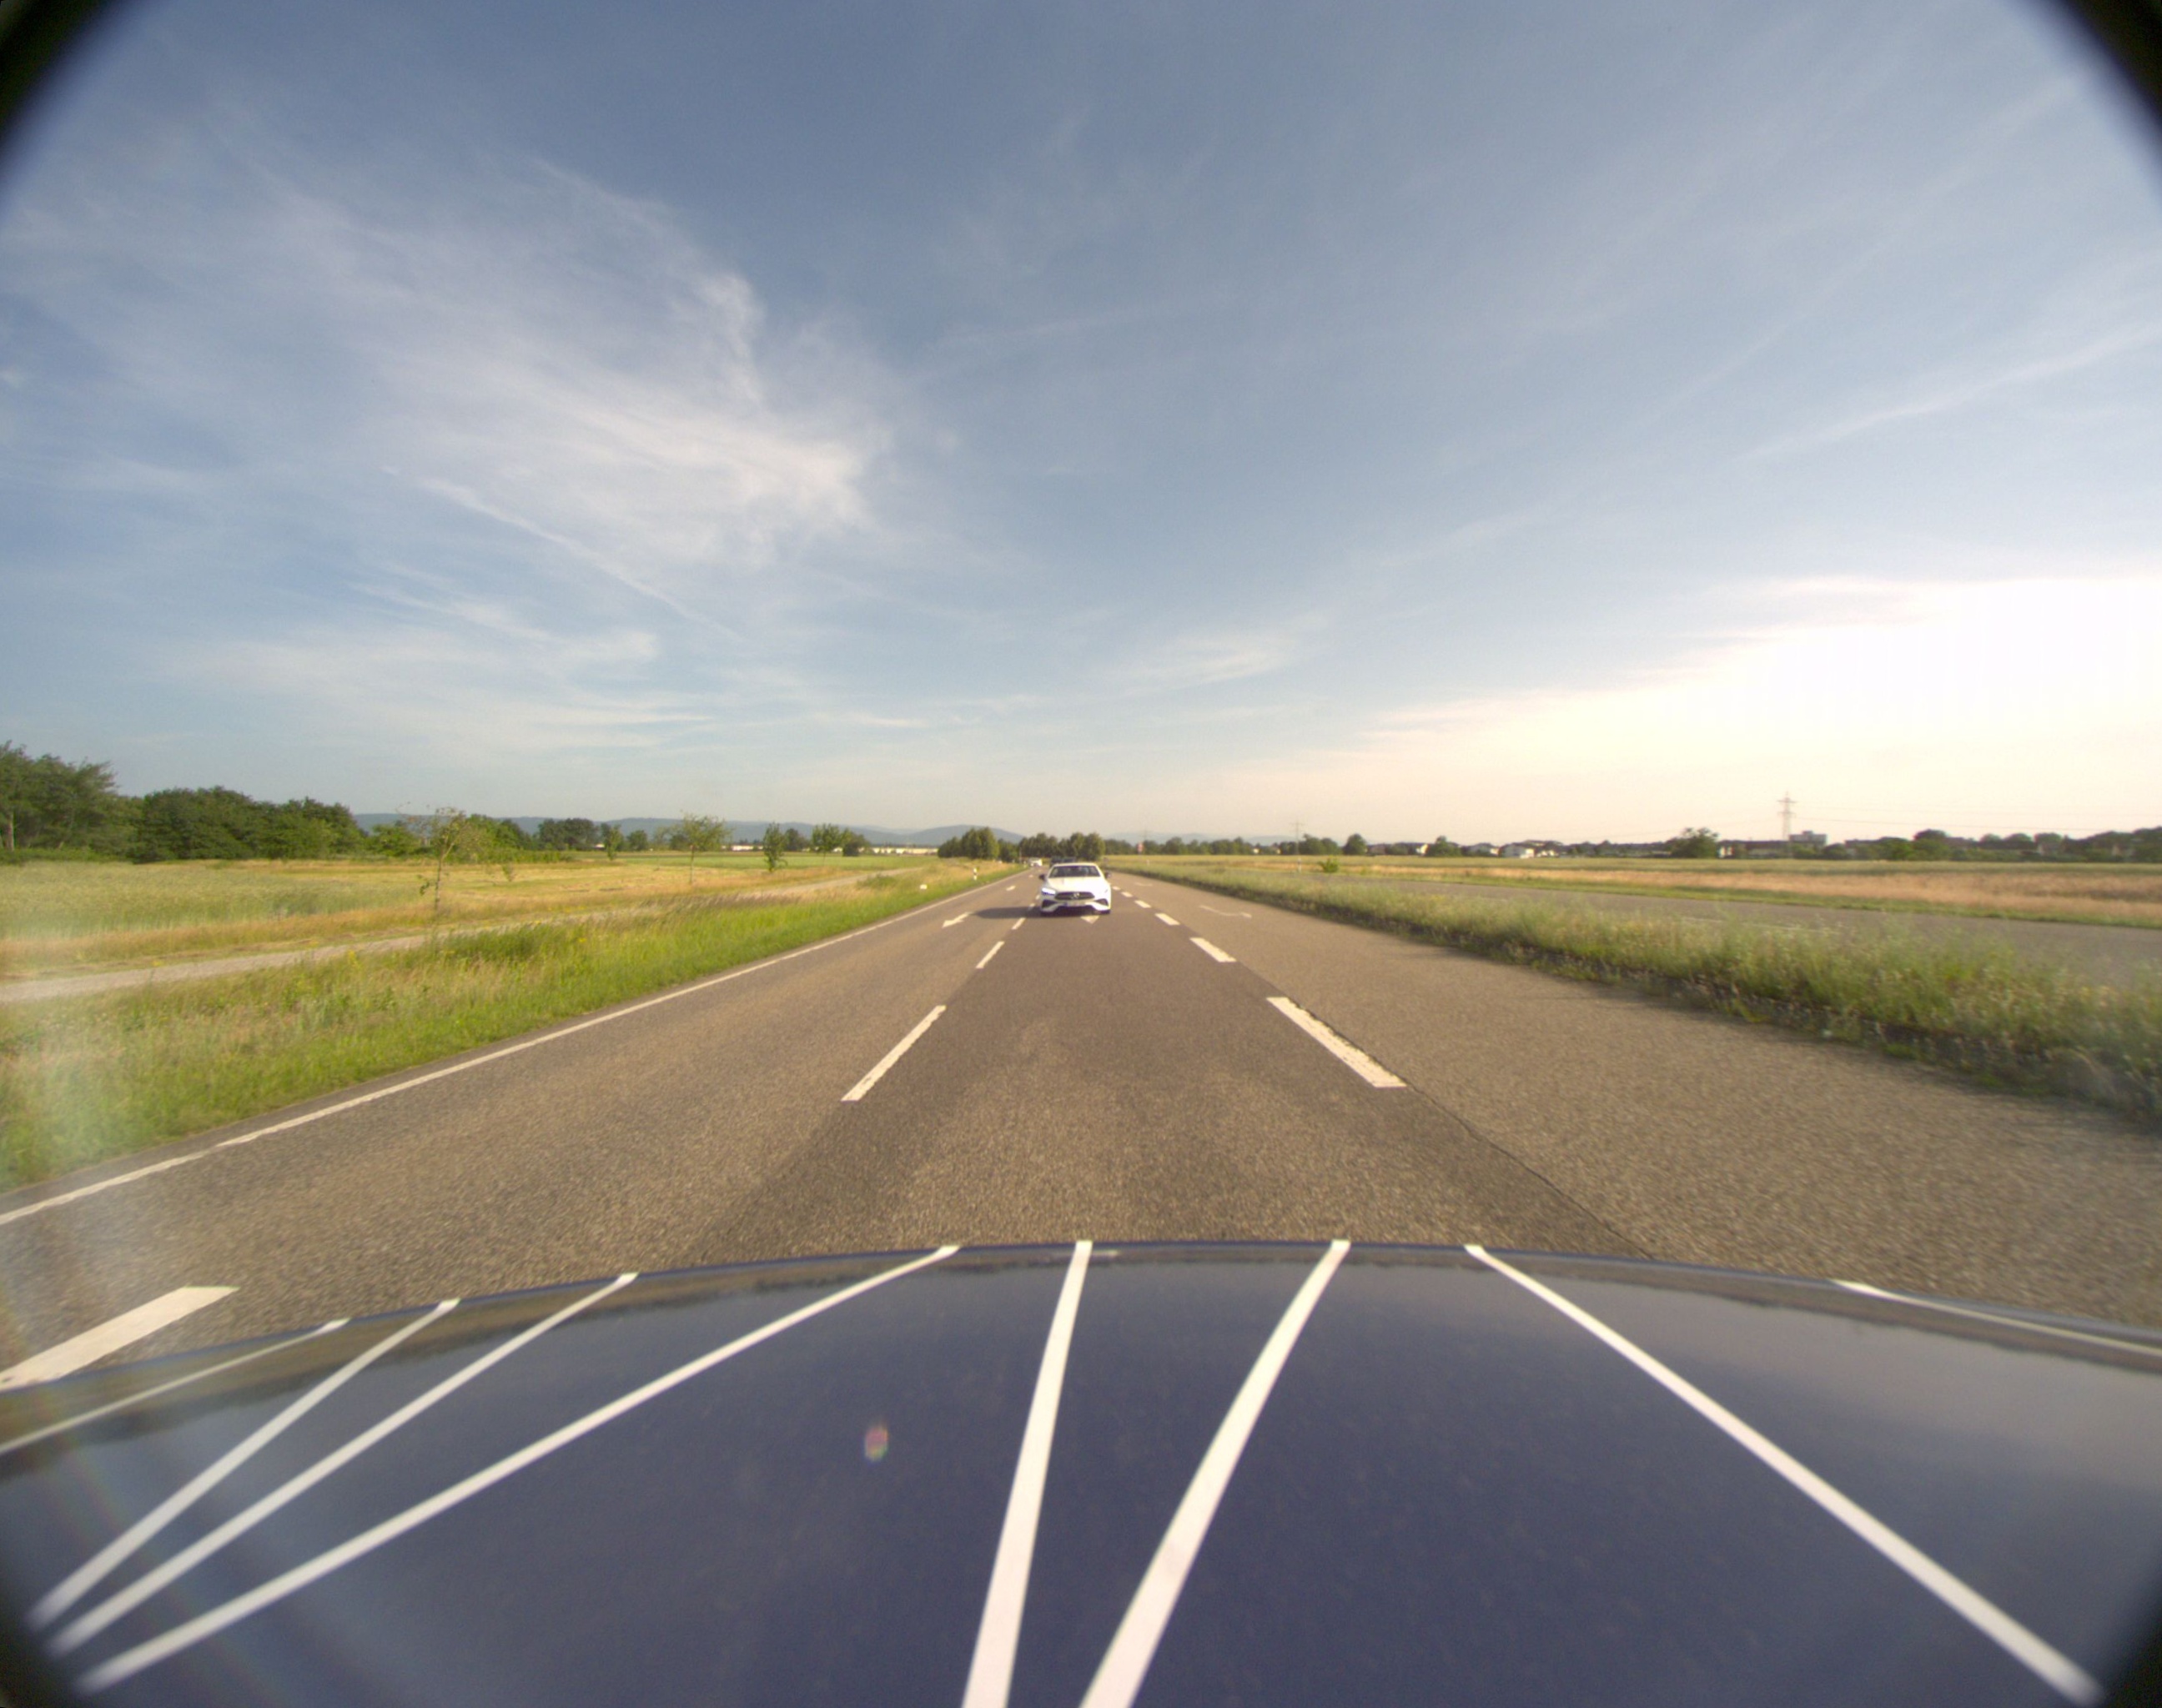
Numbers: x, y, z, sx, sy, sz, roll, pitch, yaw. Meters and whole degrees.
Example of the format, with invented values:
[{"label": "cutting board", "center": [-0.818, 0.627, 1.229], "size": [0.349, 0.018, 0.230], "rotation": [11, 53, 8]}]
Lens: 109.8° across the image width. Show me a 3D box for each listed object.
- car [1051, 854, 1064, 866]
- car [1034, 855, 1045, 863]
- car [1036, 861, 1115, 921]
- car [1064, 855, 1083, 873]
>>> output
[{"label": "car", "center": [-3.064, 0.736, 101.332], "size": [1.557, 1.550, 3.049], "rotation": [-1, 0, 1]}, {"label": "car", "center": [-7.086, 0.853, 130.060], "size": [1.557, 1.392, 4.036], "rotation": [-1, 0, 1]}, {"label": "car", "center": [-0.095, 0.962, 21.237], "size": [1.941, 1.389, 3.918], "rotation": [-2, 0, 1]}, {"label": "car", "center": [-0.632, 0.842, 67.141], "size": [1.584, 1.496, 3.661], "rotation": [-1, 0, 1]}]
